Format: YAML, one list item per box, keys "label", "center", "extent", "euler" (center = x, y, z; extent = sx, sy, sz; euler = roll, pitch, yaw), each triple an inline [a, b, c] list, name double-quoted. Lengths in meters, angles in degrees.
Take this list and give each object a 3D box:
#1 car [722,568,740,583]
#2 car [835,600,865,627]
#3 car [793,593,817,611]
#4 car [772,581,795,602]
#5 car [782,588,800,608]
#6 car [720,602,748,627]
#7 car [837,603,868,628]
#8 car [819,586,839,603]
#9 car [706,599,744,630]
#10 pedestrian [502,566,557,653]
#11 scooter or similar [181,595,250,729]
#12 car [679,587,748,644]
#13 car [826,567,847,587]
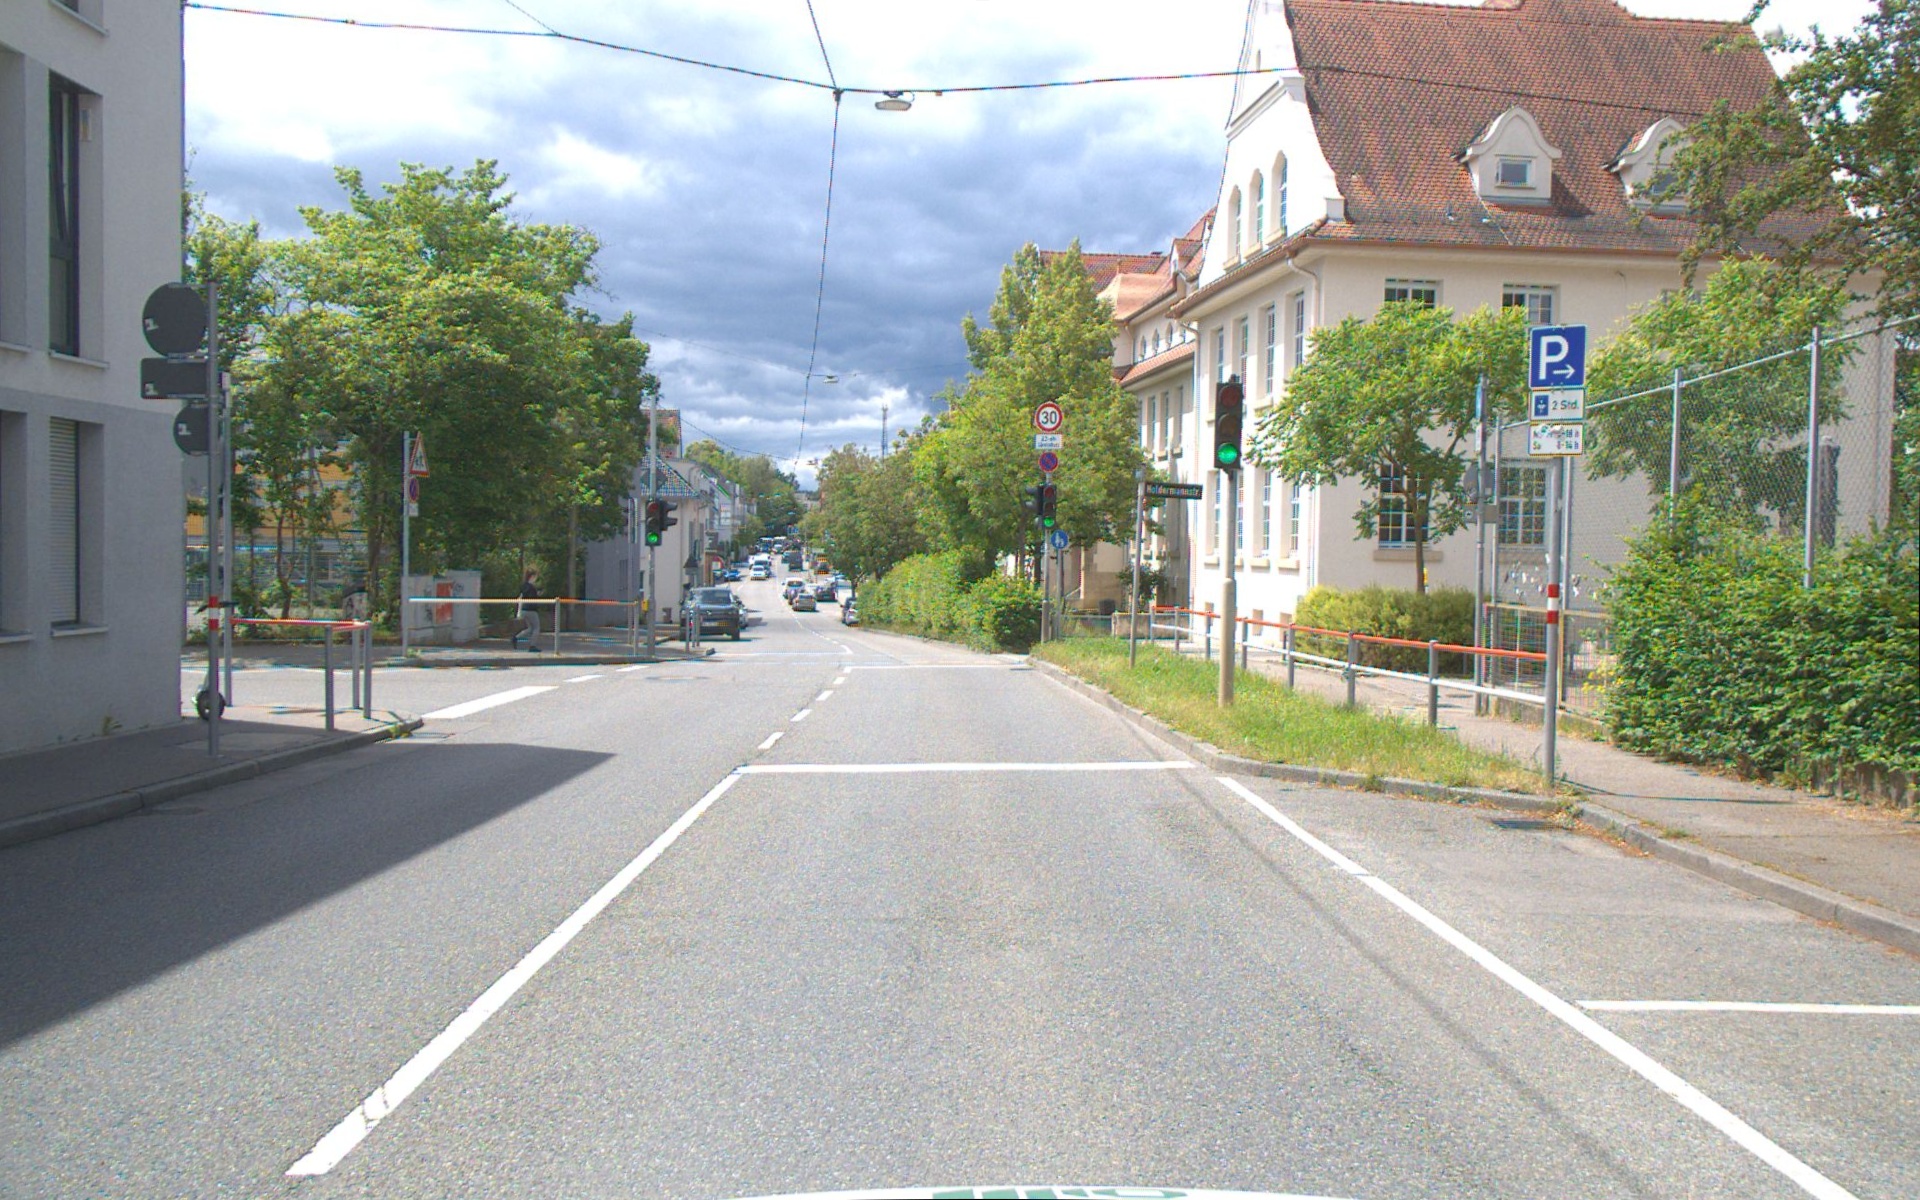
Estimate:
- label: "car"
  center: [-26.636, -2.851, 192.362]
  extent: [1.836, 1.668, 3.996]
  euler: [2, 0, -4]
- label: "car"
  center: [-7.614, 0.895, 113.759]
  extent: [1.809, 1.798, 4.508]
  euler: [1, 0, -7]
- label: "car"
  center: [-12.942, 0.126, 137.910]
  extent: [1.712, 1.441, 3.991]
  euler: [0, 1, -10]
- label: "car"
  center: [-16.746, -0.835, 156.846]
  extent: [1.804, 1.894, 3.838]
  euler: [1, 0, -13]
- label: "car"
  center: [-15.068, -0.198, 147.690]
  extent: [1.251, 1.553, 3.042]
  euler: [0, 3, -12]
- label: "car"
  center: [-13.910, 0.894, 101.814]
  extent: [1.616, 1.443, 3.693]
  euler: [1, 0, -7]
- label: "car"
  center: [-7.032, 0.975, 107.794]
  extent: [1.752, 1.535, 4.358]
  euler: [1, 0, -7]
- label: "car"
  center: [-12.185, -0.484, 153.943]
  extent: [1.719, 1.395, 3.994]
  euler: [1, -2, -6]
- label: "car"
  center: [-11.985, 0.733, 84.166]
  extent: [1.667, 1.414, 3.855]
  euler: [1, 1, -12]
- label: "pedestrian"
  center: [-8.174, 0.183, 31.398]
  extent: [0.766, 1.625, 0.661]
  euler: [1, 0, -42]
- label: "scooter or similar"
  center: [-7.452, 0.589, 16.537]
  extent: [0.484, 1.283, 1.294]
  euler: [0, 0, -31]
- label: "car"
  center: [-7.537, 0.438, 50.911]
  extent: [1.760, 1.638, 4.641]
  euler: [1, 0, -5]
- label: "car"
  center: [-13.180, -2.395, 176.094]
  extent: [1.953, 2.049, 3.999]
  euler: [1, 0, -1]
